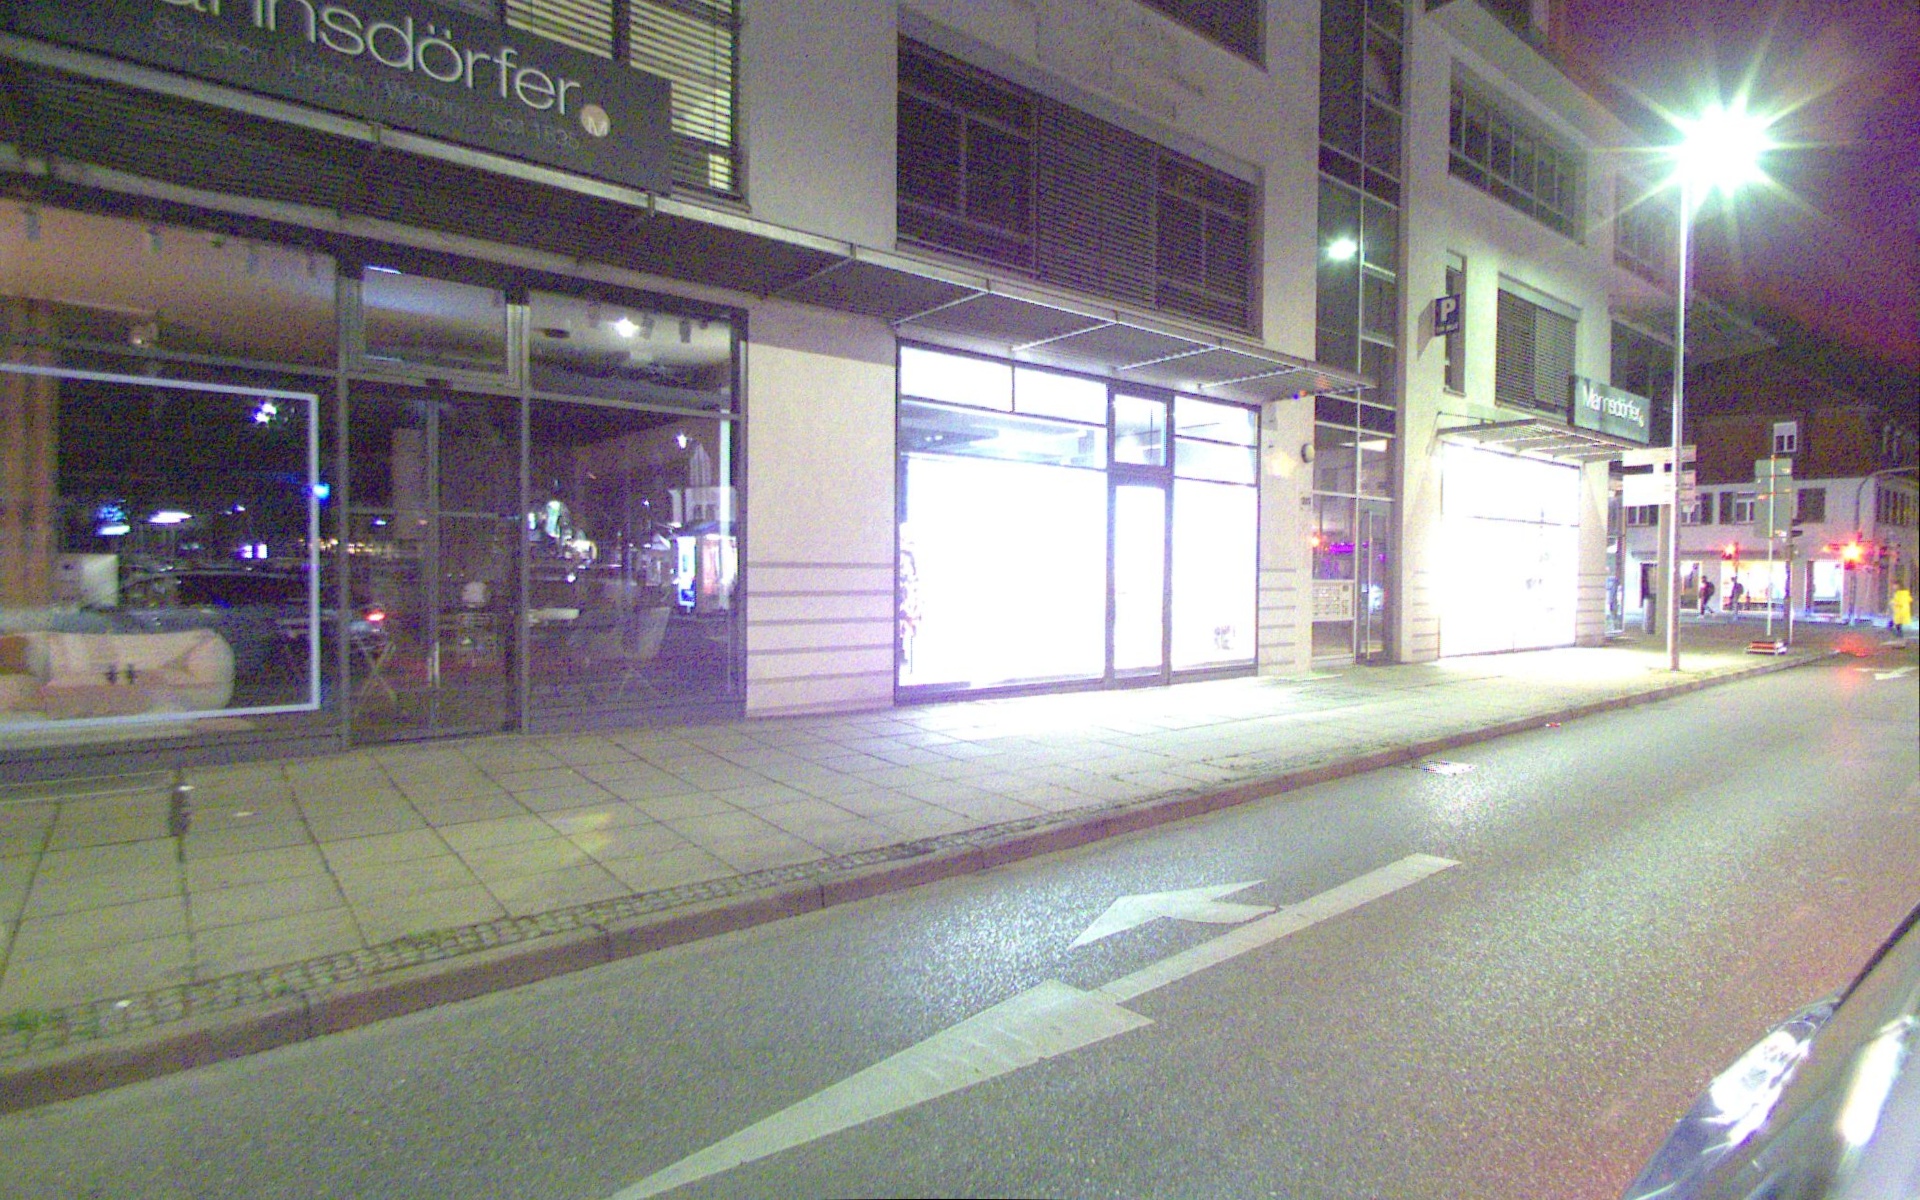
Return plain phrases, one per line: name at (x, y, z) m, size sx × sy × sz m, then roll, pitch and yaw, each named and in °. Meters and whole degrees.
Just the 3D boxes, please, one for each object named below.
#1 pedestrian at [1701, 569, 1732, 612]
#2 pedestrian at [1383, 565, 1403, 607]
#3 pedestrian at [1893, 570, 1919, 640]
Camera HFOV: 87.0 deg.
pedestrian at (31.694, -0.400, 42.411) m, size 0.635 × 1.755 × 0.877 m, roll 0°, pitch 2°, yaw -37°
pedestrian at (17.976, -0.573, 42.001) m, size 0.555 × 1.738 × 0.525 m, roll 0°, pitch 0°, yaw -32°
pedestrian at (23.532, 0.117, 24.957) m, size 0.634 × 1.703 × 0.541 m, roll 0°, pitch 0°, yaw -19°
